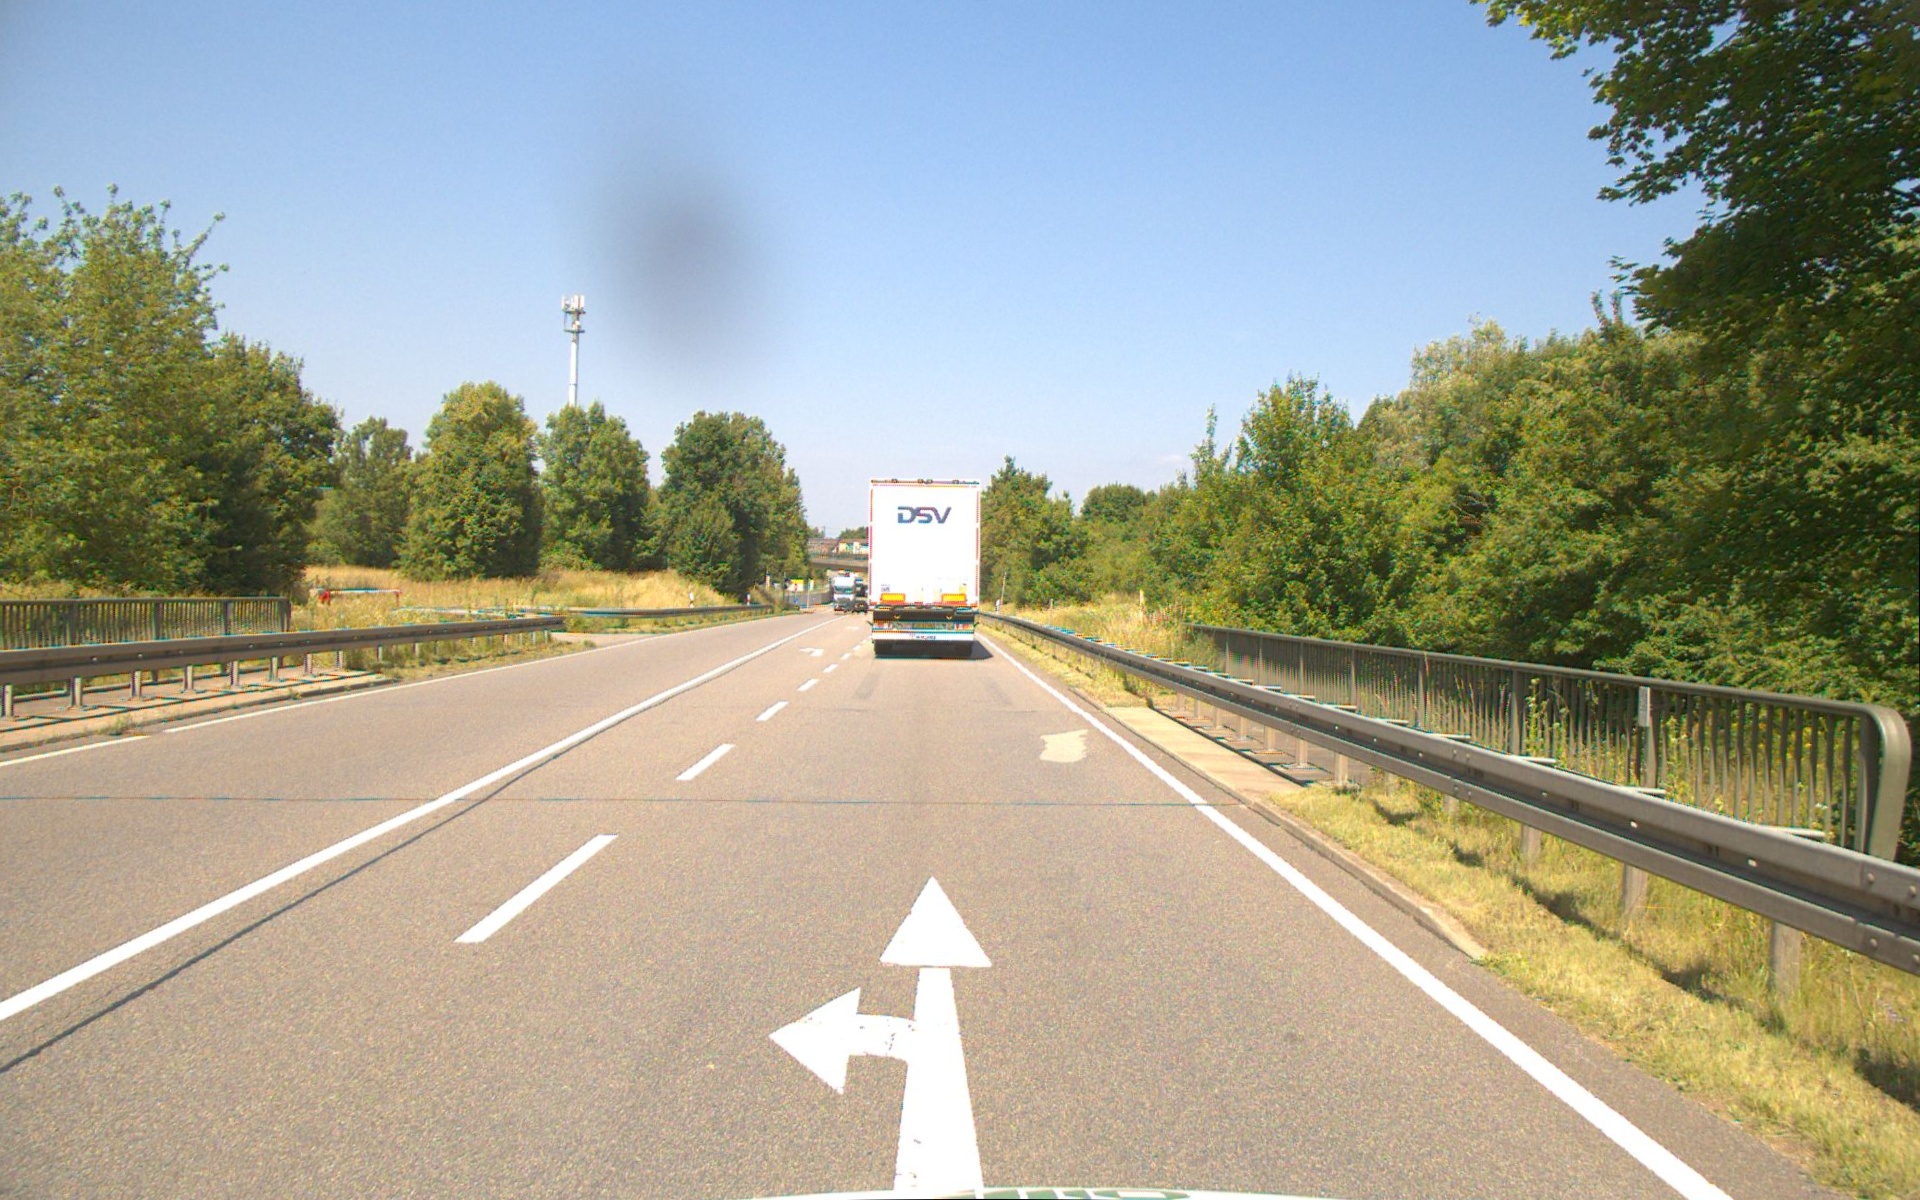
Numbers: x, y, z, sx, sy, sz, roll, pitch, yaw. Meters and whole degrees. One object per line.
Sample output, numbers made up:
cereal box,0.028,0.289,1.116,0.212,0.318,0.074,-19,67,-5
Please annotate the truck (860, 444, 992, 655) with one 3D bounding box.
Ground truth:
truck,-0.867,-1.107,41.841,2.890,4.648,9.859,1,0,-1

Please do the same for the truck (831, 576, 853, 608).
truck,-14.720,-0.986,207.208,2.306,3.815,12.619,1,0,-3
